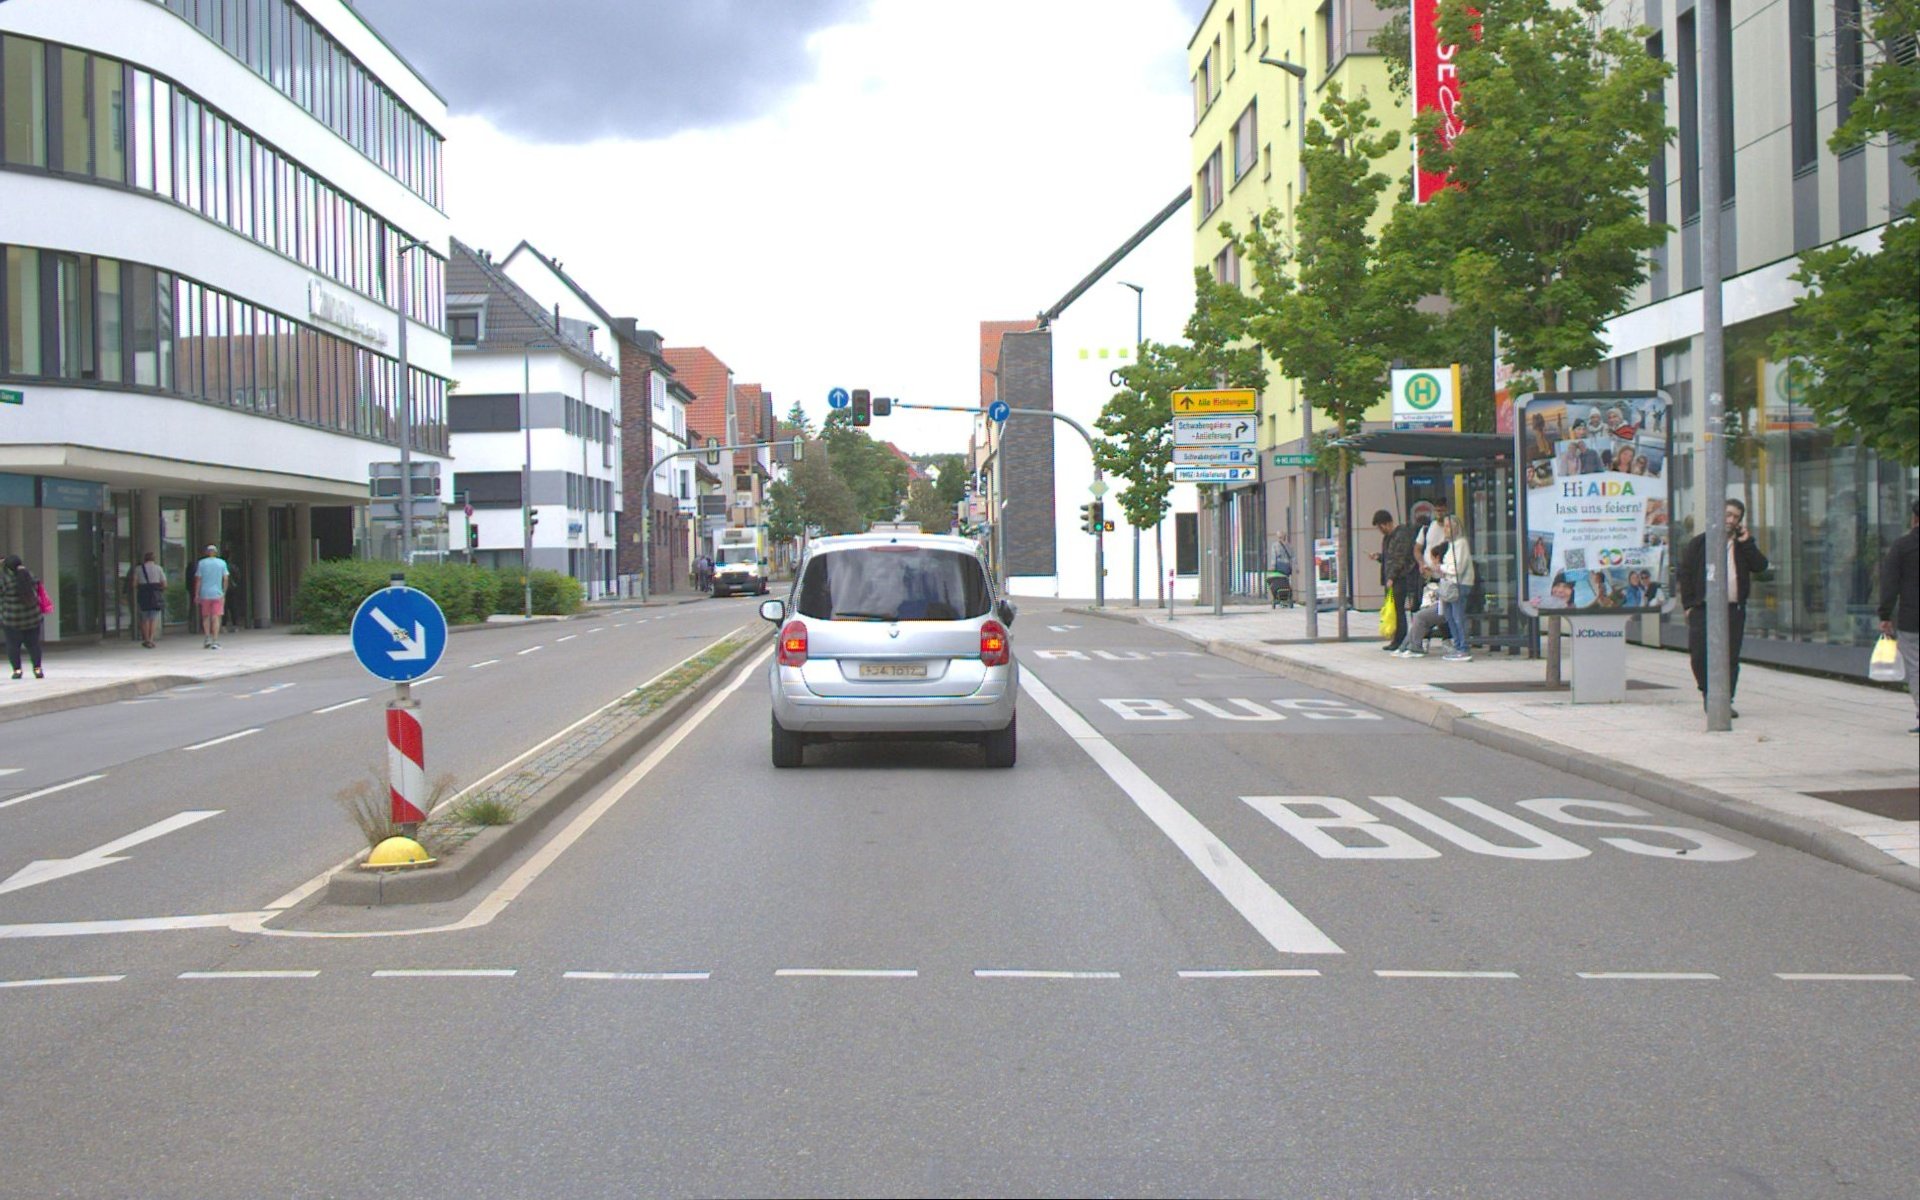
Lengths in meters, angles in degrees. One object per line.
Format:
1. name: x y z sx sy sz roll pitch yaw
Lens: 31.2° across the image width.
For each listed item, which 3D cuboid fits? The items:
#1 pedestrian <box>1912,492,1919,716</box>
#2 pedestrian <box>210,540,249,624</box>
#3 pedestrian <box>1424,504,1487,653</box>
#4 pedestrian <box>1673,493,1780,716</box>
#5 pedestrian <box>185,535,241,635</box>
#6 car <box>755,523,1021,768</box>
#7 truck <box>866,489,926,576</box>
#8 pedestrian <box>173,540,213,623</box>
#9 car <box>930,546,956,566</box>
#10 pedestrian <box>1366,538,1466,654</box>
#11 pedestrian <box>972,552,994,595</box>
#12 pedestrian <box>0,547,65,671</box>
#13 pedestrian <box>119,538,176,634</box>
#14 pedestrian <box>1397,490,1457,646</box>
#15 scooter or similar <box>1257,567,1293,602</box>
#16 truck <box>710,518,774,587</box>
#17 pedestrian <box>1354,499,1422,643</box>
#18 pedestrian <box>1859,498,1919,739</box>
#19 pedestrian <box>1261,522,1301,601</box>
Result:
1. pedestrian: 7.491 0.026 25.357 0.744 1.663 0.614 -1 1 0
2. pedestrian: -15.103 -0.373 71.053 0.613 1.704 0.506 -1 1 -31
3. pedestrian: 5.381 -0.235 37.342 0.579 1.585 0.732 -2 1 4
4. pedestrian: 5.811 0.030 26.080 0.655 1.663 0.614 -1 1 0
5. pedestrian: -12.590 -0.255 57.959 0.730 1.668 0.931 1 1 1
6. car: -0.507 0.268 24.371 1.706 1.573 4.000 1 1 -1
7. truck: -2.870 -3.046 155.992 2.595 3.844 6.849 0 1 0
8. pedestrian: -15.990 -0.392 71.678 0.505 1.724 0.614 -1 1 30
9. car: -1.236 -3.219 250.600 1.812 1.349 4.000 -2 1 0
10. pedestrian: 5.100 -0.052 38.507 0.942 1.255 0.733 -2 1 -3
11. pedestrian: 0.997 -1.152 148.663 0.807 1.781 0.861 -3 1 0
12. pedestrian: -11.980 0.113 43.909 0.830 1.562 0.813 1 1 4
13. pedestrian: -13.891 -0.244 58.774 0.730 1.607 0.931 1 1 1
14. pedestrian: 5.364 -0.371 39.507 0.579 1.763 0.856 -2 1 4
15. scooter or similar: 6.403 -0.319 69.904 0.592 0.670 0.824 -2 1 -2
16. truck: -9.516 -2.083 150.580 2.435 2.943 8.365 0 1 -1
17. pedestrian: 5.093 -0.347 40.932 0.721 1.678 0.732 -2 1 4
18. pedestrian: 6.564 0.113 23.274 0.740 1.603 0.715 -1 1 0
19. pedestrian: 6.584 -0.794 70.624 0.695 1.588 0.603 -2 1 -2
